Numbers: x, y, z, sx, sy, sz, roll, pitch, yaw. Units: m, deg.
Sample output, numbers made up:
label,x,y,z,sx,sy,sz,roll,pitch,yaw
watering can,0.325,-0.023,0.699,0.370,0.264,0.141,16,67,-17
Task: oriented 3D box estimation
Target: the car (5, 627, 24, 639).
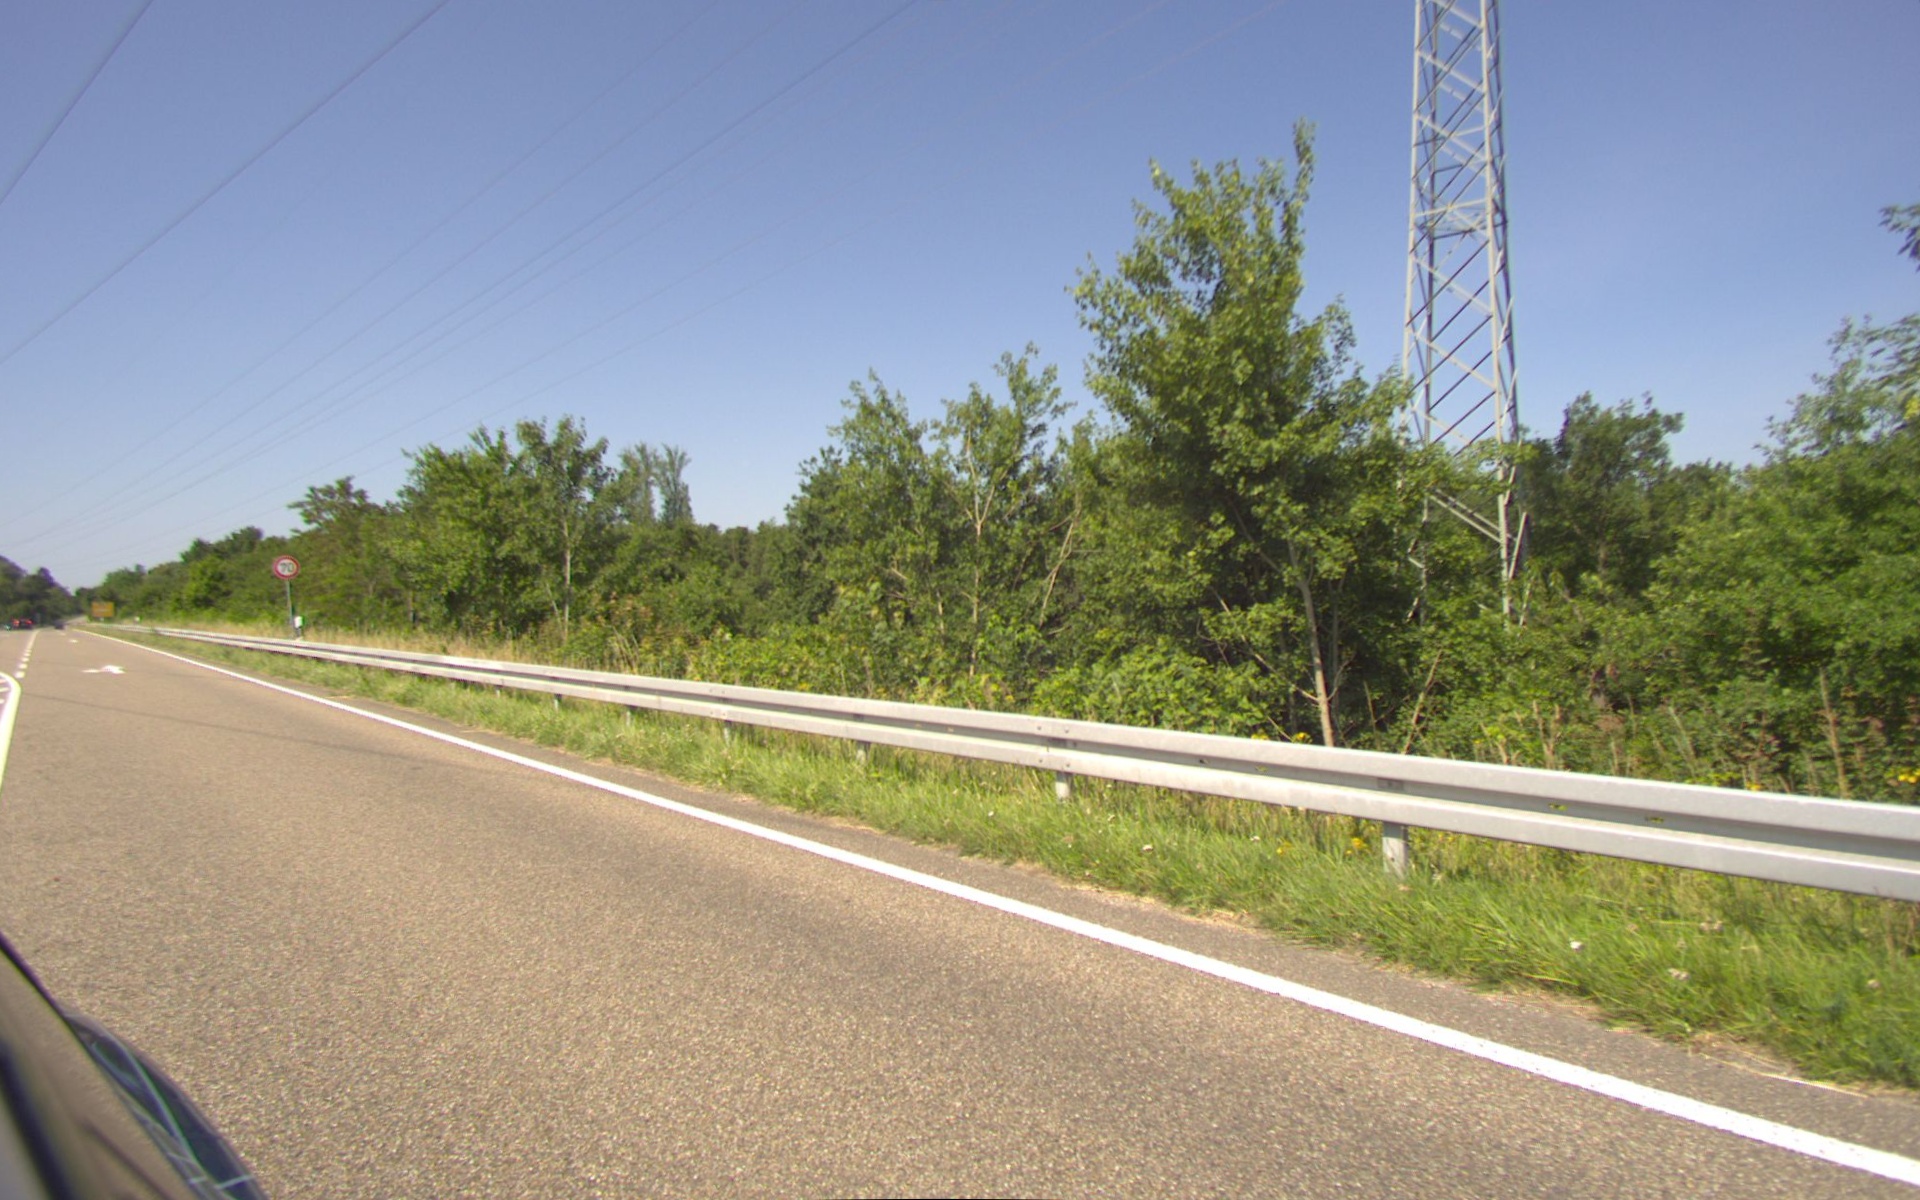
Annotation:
label,x,y,z,sx,sy,sz,roll,pitch,yaw
car,-130.531,4.541,139.676,1.807,1.595,4.003,1,-2,-44
